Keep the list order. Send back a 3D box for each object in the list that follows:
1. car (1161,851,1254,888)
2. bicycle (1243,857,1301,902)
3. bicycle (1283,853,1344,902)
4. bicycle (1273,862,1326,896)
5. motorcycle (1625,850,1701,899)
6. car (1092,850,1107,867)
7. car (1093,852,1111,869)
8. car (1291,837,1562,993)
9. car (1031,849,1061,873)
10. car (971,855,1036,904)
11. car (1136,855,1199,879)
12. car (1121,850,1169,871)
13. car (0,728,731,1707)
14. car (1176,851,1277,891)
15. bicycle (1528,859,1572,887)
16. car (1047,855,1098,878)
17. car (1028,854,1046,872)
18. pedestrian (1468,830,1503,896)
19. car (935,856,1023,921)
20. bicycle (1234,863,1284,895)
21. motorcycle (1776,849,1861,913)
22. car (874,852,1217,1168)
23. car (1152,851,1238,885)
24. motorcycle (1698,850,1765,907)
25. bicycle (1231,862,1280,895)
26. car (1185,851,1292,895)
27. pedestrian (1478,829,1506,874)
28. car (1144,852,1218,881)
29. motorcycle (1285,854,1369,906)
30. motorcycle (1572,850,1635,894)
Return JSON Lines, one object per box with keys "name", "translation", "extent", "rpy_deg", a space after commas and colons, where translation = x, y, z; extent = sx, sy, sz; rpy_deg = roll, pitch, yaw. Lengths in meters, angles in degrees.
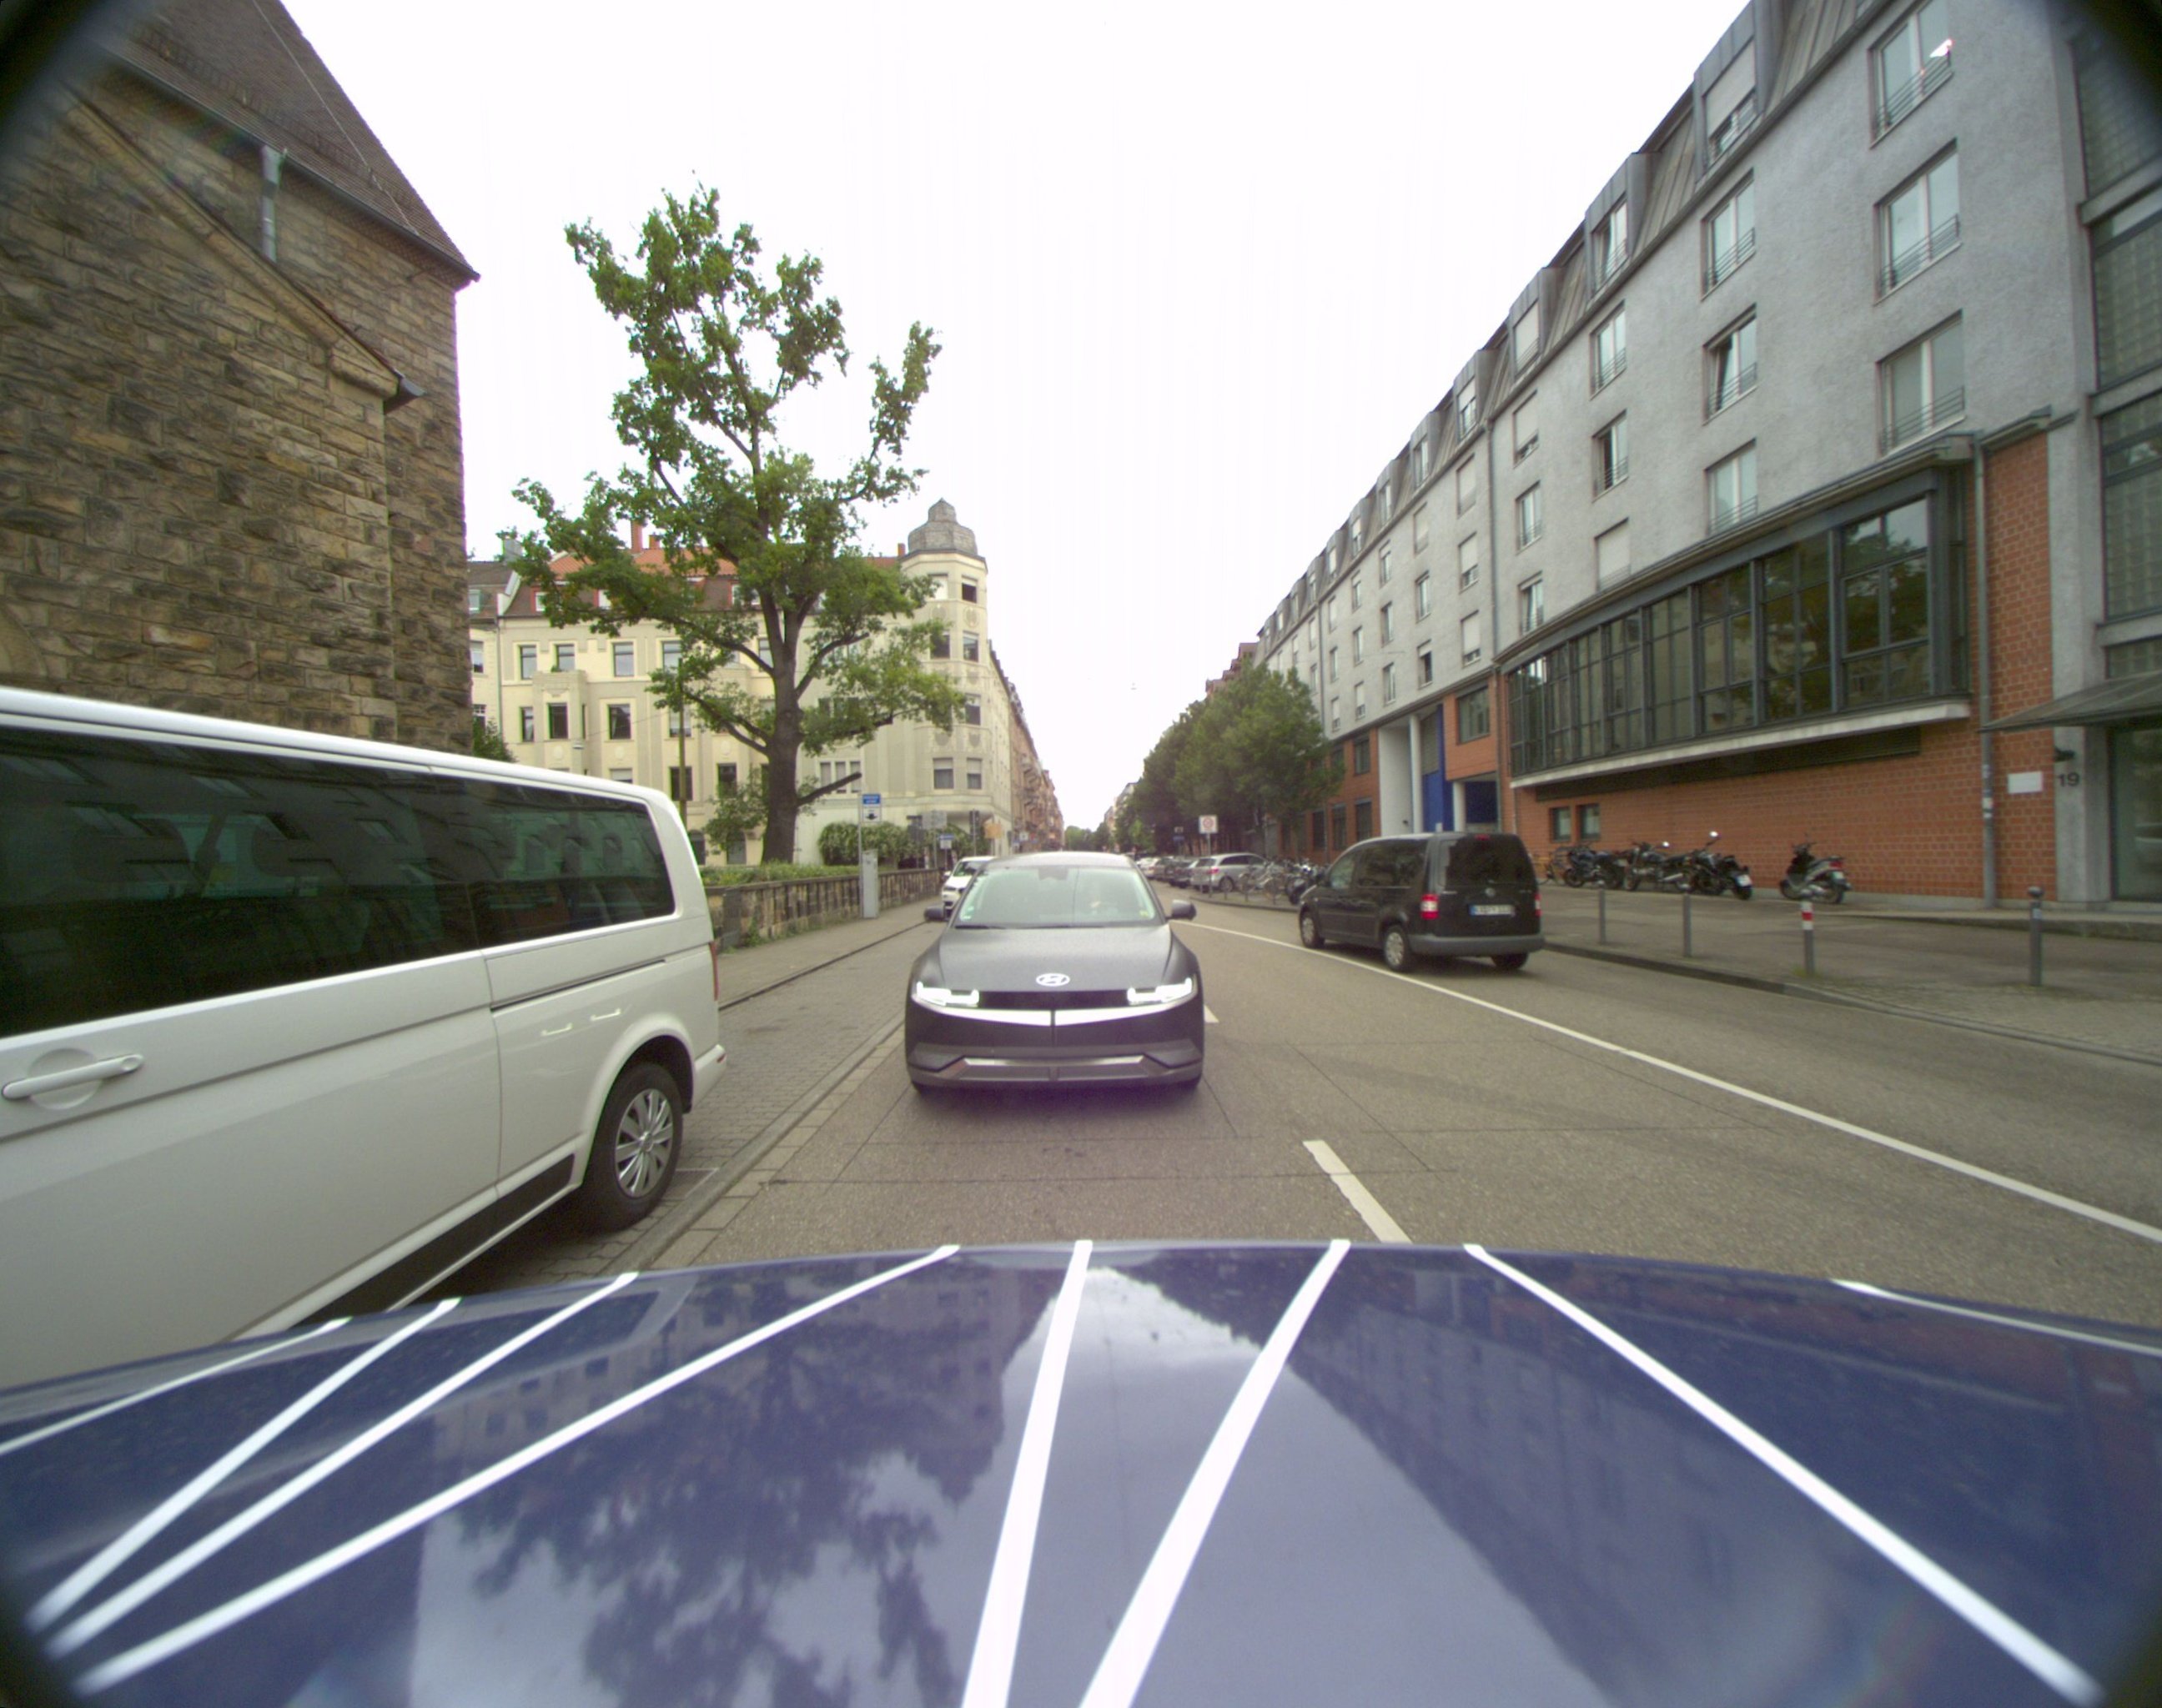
{"name": "car", "translation": [6.197, 0.731, 37.327], "extent": [4.004, 1.619, 1.996], "rpy_deg": [-2, 0, -22]}
{"name": "bicycle", "translation": [5.886, 0.778, 23.427], "extent": [1.630, 1.282, 0.416], "rpy_deg": [-3, 1, -1]}
{"name": "bicycle", "translation": [6.944, 0.702, 22.722], "extent": [1.630, 1.345, 0.416], "rpy_deg": [-3, 1, -1]}
{"name": "bicycle", "translation": [7.495, 0.848, 26.077], "extent": [1.630, 1.067, 0.416], "rpy_deg": [-3, 1, -1]}
{"name": "motorcycle", "translation": [13.641, 0.463, 17.866], "extent": [0.446, 1.091, 1.763], "rpy_deg": [-2, 0, 1]}
{"name": "car", "translation": [2.331, 0.544, 97.797], "extent": [1.875, 2.002, 3.999], "rpy_deg": [-2, 1, 1]}
{"name": "car", "translation": [2.498, 0.772, 91.151], "extent": [1.998, 1.897, 4.000], "rpy_deg": [-2, 0, 1]}
{"name": "car", "translation": [4.659, 0.719, 11.012], "extent": [1.699, 1.793, 4.127], "rpy_deg": [-1, 0, -6]}
{"name": "car", "translation": [-2.422, 0.473, 53.601], "extent": [1.820, 1.556, 4.000], "rpy_deg": [-2, 0, 1]}
{"name": "car", "translation": [-2.676, 0.855, 27.128], "extent": [1.820, 1.556, 4.000], "rpy_deg": [-2, 0, 1]}
{"name": "car", "translation": [5.997, 0.871, 52.680], "extent": [4.004, 1.488, 1.735], "rpy_deg": [-2, 0, -22]}
{"name": "car", "translation": [6.069, 0.586, 72.341], "extent": [4.004, 1.897, 1.996], "rpy_deg": [-2, 0, -22]}
{"name": "car", "translation": [-2.780, 0.757, 1.461], "extent": [1.810, 1.908, 5.163], "rpy_deg": [-2, 0, -1]}
{"name": "car", "translation": [6.518, 0.742, 34.109], "extent": [4.004, 1.619, 1.996], "rpy_deg": [-2, 0, -22]}
{"name": "bicycle", "translation": [13.848, 0.559, 22.457], "extent": [0.336, 0.782, 1.581], "rpy_deg": [-2, 0, 1]}
{"name": "car", "translation": [-0.713, 0.945, 58.017], "extent": [1.915, 1.597, 4.240], "rpy_deg": [-2, 1, -32]}
{"name": "car", "translation": [-3.772, 0.735, 65.185], "extent": [1.336, 1.462, 2.857], "rpy_deg": [-2, 1, 1]}
{"name": "pedestrian", "translation": [11.385, 0.240, 21.384], "extent": [0.621, 1.812, 0.642], "rpy_deg": [-2, 1, 1]}
{"name": "car", "translation": [-2.708, 0.878, 21.110], "extent": [1.820, 1.556, 4.000], "rpy_deg": [-2, 0, 1]}
{"name": "bicycle", "translation": [6.350, 0.886, 27.062], "extent": [1.630, 1.067, 0.416], "rpy_deg": [-3, 1, -1]}
{"name": "motorcycle", "translation": [13.510, 0.460, 13.971], "extent": [0.445, 1.091, 1.765], "rpy_deg": [-1, 0, 21]}
{"name": "car", "translation": [-0.166, 0.851, 6.135], "extent": [1.820, 1.675, 4.000], "rpy_deg": [-2, 0, 1]}
{"name": "car", "translation": [6.009, 0.719, 40.097], "extent": [4.004, 1.619, 1.996], "rpy_deg": [-2, 0, -22]}
{"name": "motorcycle", "translation": [13.308, 0.469, 15.587], "extent": [0.445, 1.091, 1.765], "rpy_deg": [-1, 0, 21]}
{"name": "bicycle", "translation": [6.322, 0.881, 27.534], "extent": [1.630, 1.067, 0.416], "rpy_deg": [-3, 1, -1]}
{"name": "car", "translation": [6.505, 0.753, 31.449], "extent": [4.004, 1.619, 1.769], "rpy_deg": [-2, 0, -22]}
{"name": "pedestrian", "translation": [15.335, -0.102, 28.381], "extent": [0.686, 1.640, 0.622], "rpy_deg": [-2, 1, 2]}
{"name": "car", "translation": [6.053, 0.721, 46.043], "extent": [4.004, 1.619, 1.996], "rpy_deg": [-2, 0, -22]}
{"name": "motorcycle", "translation": [6.949, 0.723, 21.496], "extent": [2.124, 1.345, 0.599], "rpy_deg": [-3, 1, 1]}
{"name": "motorcycle", "translation": [13.638, 0.441, 19.873], "extent": [0.446, 1.091, 1.763], "rpy_deg": [-2, 0, 1]}
